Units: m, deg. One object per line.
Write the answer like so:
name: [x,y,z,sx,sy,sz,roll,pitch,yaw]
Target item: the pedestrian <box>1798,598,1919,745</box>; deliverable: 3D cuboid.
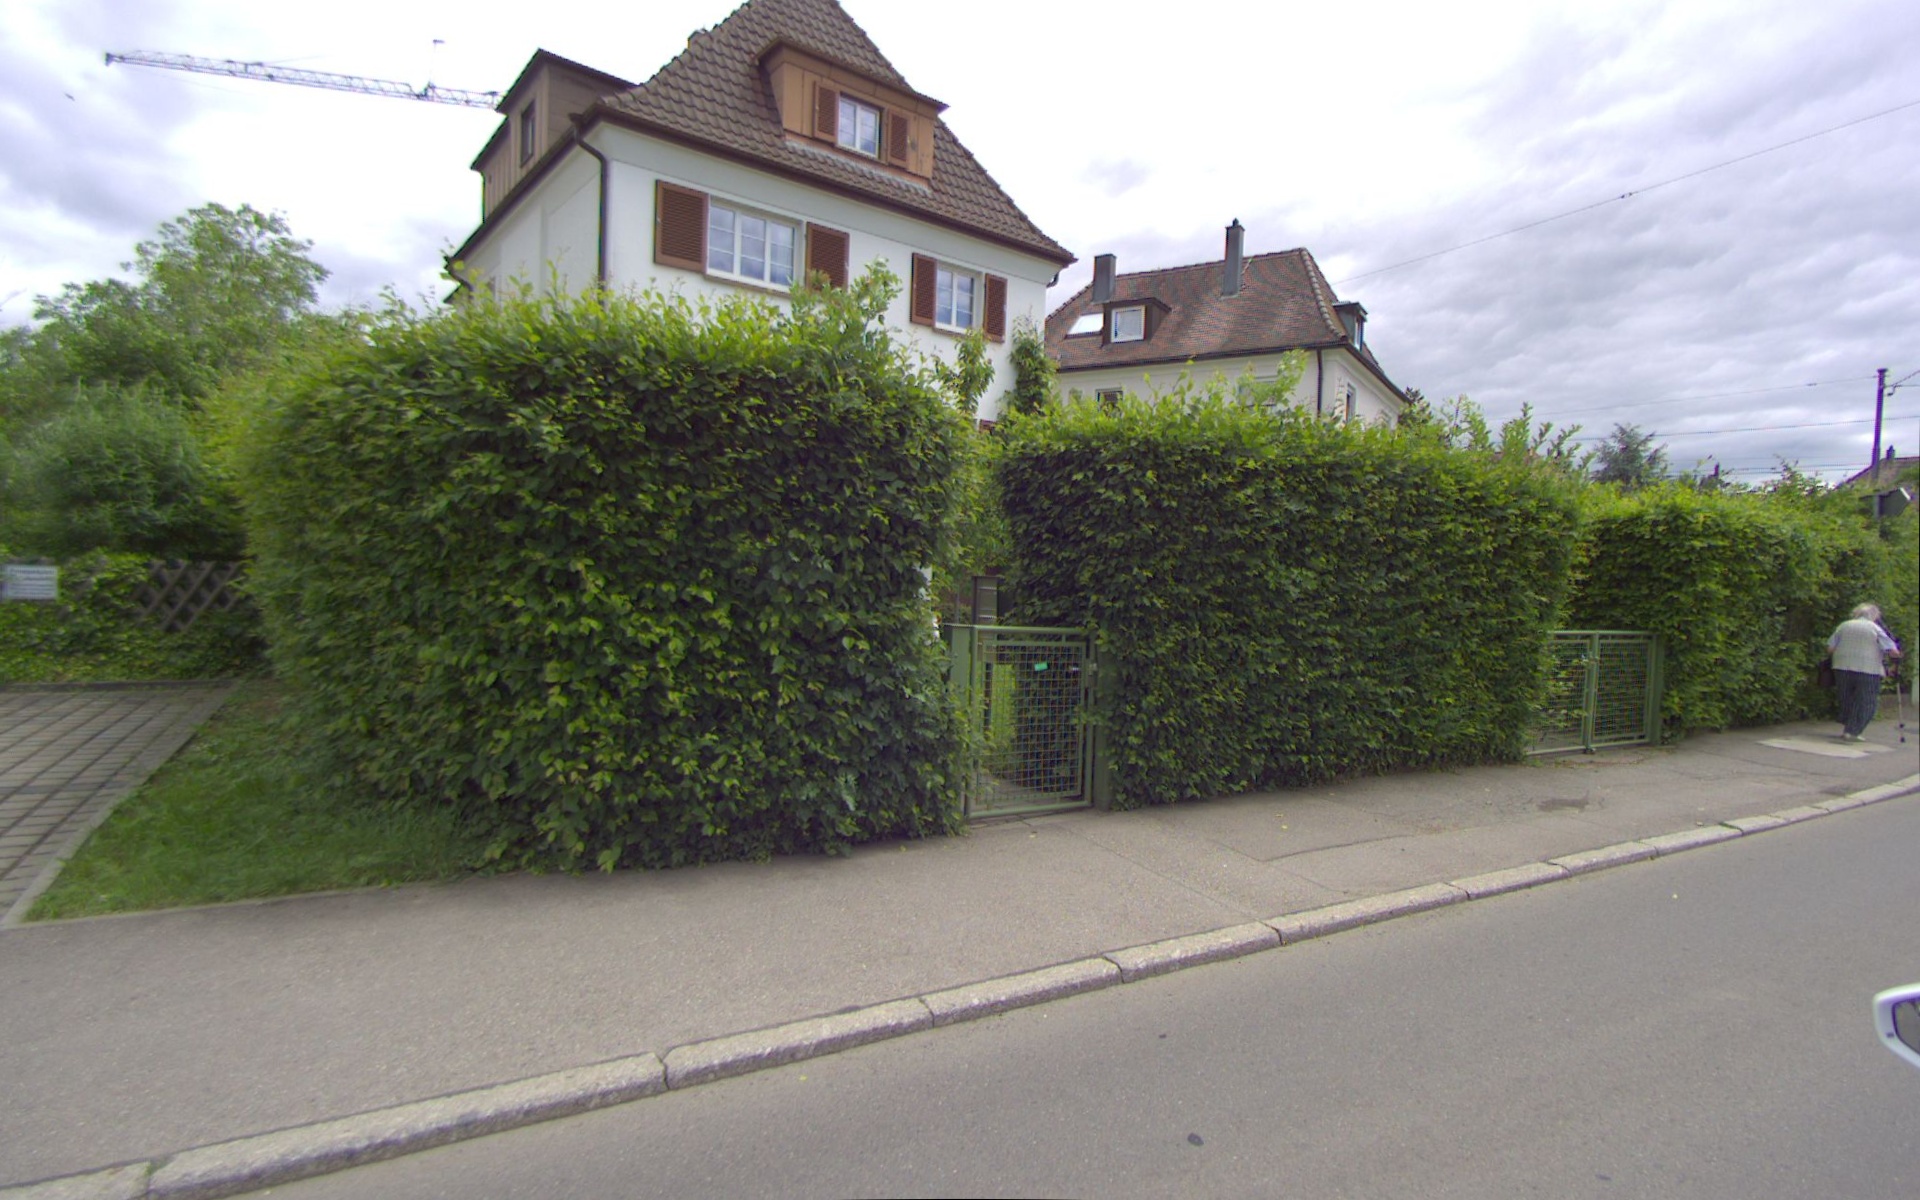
pedestrian: [9.968,0.768,11.176,0.865,1.505,0.453,6,4,39]
